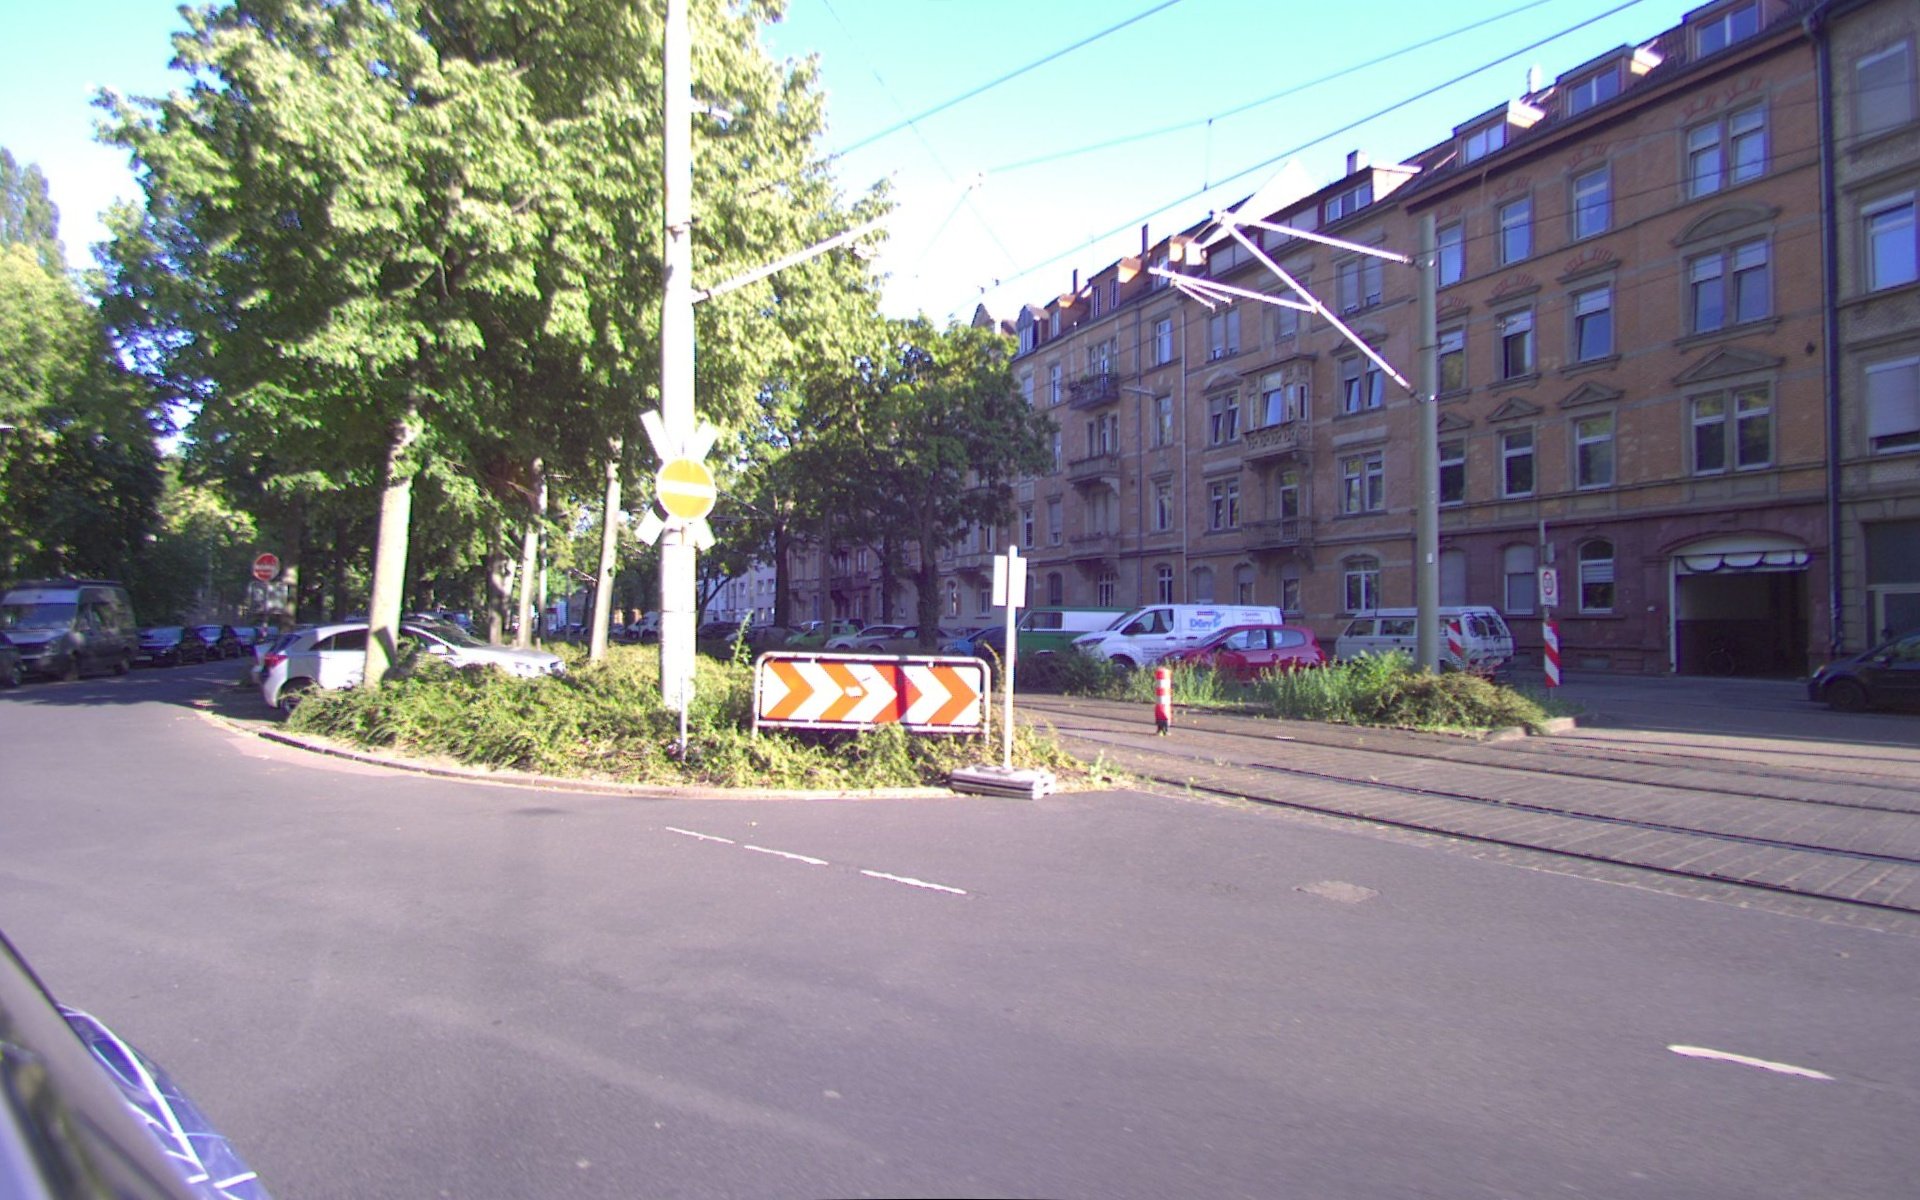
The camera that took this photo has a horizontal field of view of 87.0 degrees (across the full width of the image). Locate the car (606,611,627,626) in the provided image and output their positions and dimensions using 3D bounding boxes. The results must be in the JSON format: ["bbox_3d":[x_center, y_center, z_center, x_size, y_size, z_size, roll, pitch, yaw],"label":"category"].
[{"bbox_3d":[-48.180,2.583,141.843,1.966,2.029,4.012,2,-2,-30],"label":"car"}]

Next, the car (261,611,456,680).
[{"bbox_3d":[-15.099,1.112,25.534,3.832,1.505,1.831,-3,0,2],"label":"car"}]

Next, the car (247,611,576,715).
[{"bbox_3d":[-8.485,0.940,16.005,4.226,1.440,1.778,-1,-1,-8],"label":"car"}]

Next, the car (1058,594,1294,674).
[{"bbox_3d":[4.950,0.799,23.712,4.984,1.778,2.086,0,-2,-3],"label":"car"}]

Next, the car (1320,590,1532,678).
[{"bbox_3d":[12.282,0.929,27.093,1.825,2.079,5.016,-2,-2,-27],"label":"car"}]

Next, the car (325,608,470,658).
[{"bbox_3d":[-23.186,1.352,41.821,4.936,1.794,1.986,-3,0,3],"label":"car"}]

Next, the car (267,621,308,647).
[{"bbox_3d":[-38.415,1.926,57.874,1.657,1.465,4.088,1,-2,-30],"label":"car"}]

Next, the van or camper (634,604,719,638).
[{"bbox_3d":[-20.568,1.533,73.669,5.477,2.389,2.306,1,-2,2],"label":"van or camper"}]

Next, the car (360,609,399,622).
[{"bbox_3d":[-81.608,2.199,142.293,4.372,1.634,1.638,-3,0,-9],"label":"car"}]

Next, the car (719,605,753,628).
[{"bbox_3d":[-20.128,1.517,90.851,1.965,2.029,4.013,1,-2,-27],"label":"car"}]

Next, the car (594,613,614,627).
[{"bbox_3d":[-51.714,2.895,146.875,1.966,2.029,4.012,1,-2,-30],"label":"car"}]

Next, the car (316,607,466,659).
[{"bbox_3d":[-20.412,1.169,36.413,4.301,1.638,1.939,-3,0,3],"label":"car"}]

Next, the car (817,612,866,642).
[{"bbox_3d":[-7.841,1.793,66.783,1.825,1.796,4.037,4,-3,-27],"label":"car"}]

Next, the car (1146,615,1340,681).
[{"bbox_3d":[5.924,1.008,21.438,3.580,1.339,1.717,0,-2,-2],"label":"car"}]

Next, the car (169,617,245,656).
[{"bbox_3d":[-31.371,1.519,42.271,1.656,1.537,4.301,1,-2,-24],"label":"car"}]

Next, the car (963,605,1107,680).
[{"bbox_3d":[2.165,1.194,28.995,3.951,2.029,1.996,0,-2,7],"label":"car"}]

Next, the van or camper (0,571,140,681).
[{"bbox_3d":[-25.160,0.729,28.254,2.054,2.783,5.864,1,-2,-24],"label":"van or camper"}]

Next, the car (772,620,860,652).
[{"bbox_3d":[-6.408,1.615,45.393,3.687,1.391,1.707,0,-2,1],"label":"car"}]

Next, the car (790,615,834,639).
[{"bbox_3d":[-10.608,1.938,72.482,1.825,1.542,4.037,4,-3,-27],"label":"car"}]

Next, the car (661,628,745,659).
[{"bbox_3d":[-13.553,2.308,53.608,3.944,1.590,2.000,0,-2,0],"label":"car"}]

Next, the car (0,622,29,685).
[{"bbox_3d":[-22.748,1.249,22.552,1.657,1.457,3.884,-2,-1,-22],"label":"car"}]

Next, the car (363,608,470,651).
[{"bbox_3d":[-25.339,1.348,47.233,4.118,1.794,1.877,-3,0,12],"label":"car"}]

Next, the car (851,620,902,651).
[{"bbox_3d":[-5.142,2.197,62.207,1.825,1.796,3.519,-2,-2,-27],"label":"car"}]

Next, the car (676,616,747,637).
[{"bbox_3d":[-15.913,1.721,64.809,4.134,1.320,1.634,0,-2,4],"label":"car"}]

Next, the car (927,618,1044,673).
[{"bbox_3d":[0.833,1.436,32.120,3.604,1.652,1.658,0,-2,4],"label":"car"}]

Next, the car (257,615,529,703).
[{"bbox_3d":[-10.204,1.023,18.490,3.974,1.416,1.778,-1,-1,-10],"label":"car"}]

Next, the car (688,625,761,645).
[{"bbox_3d":[-14.421,2.166,62.125,4.148,1.176,1.498,0,-2,3],"label":"car"}]

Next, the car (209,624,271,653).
[{"bbox_3d":[-33.437,1.769,47.085,1.656,1.293,4.301,1,-2,-26],"label":"car"}]

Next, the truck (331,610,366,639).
[{"bbox_3d":[-53.876,2.167,89.274,2.263,2.404,6.956,1,-2,-28],"label":"truck"}]

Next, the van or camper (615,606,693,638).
[{"bbox_3d":[-24.624,1.773,81.559,5.596,2.487,2.000,1,-2,-1],"label":"van or camper"}]

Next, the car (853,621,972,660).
[{"bbox_3d":[-1.716,1.499,37.592,4.236,1.391,1.591,0,-2,6],"label":"car"}]

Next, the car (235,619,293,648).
[{"bbox_3d":[-35.849,1.725,52.242,1.656,1.435,4.674,1,-2,-25],"label":"car"}]

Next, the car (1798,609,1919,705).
[{"bbox_3d":[16.983,0.940,17.101,1.825,1.575,3.884,-2,-2,-27],"label":"car"}]

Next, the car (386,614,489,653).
[{"bbox_3d":[-32.910,2.094,63.800,5.444,2.153,2.078,-3,0,5],"label":"car"}]

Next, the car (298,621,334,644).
[{"bbox_3d":[-42.523,2.157,66.911,1.568,1.465,3.566,1,-2,-26],"label":"car"}]

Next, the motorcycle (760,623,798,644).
[{"bbox_3d":[-8.565,1.574,47.992,1.701,0.962,1.021,0,-2,-5],"label":"motorcycle"}]

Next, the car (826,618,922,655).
[{"bbox_3d":[-3.391,1.454,40.392,3.686,1.391,1.727,0,-2,0],"label":"car"}]

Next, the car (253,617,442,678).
[{"bbox_3d":[-16.972,1.296,28.193,4.142,1.450,1.832,-3,0,0],"label":"car"}]

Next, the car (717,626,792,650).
[{"bbox_3d":[-11.373,2.113,56.277,3.939,1.327,1.596,0,-2,-5],"label":"car"}]

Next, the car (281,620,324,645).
[{"bbox_3d":[-40.321,1.984,62.146,1.656,1.465,4.089,1,-2,-26],"label":"car"}]

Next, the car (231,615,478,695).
[{"bbox_3d":[-12.224,1.074,20.675,3.921,1.375,1.778,-2,0,-9],"label":"car"}]

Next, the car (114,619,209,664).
[{"bbox_3d":[-28.892,1.486,36.759,1.656,1.537,4.504,1,-2,-24],"label":"car"}]

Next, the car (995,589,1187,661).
[{"bbox_3d":[3.306,0.651,26.438,4.772,1.778,2.083,0,-2,3],"label":"car"}]

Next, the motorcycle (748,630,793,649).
[{"bbox_3d":[-9.240,1.914,49.425,1.956,0.896,1.017,0,-2,11],"label":"motorcycle"}]
